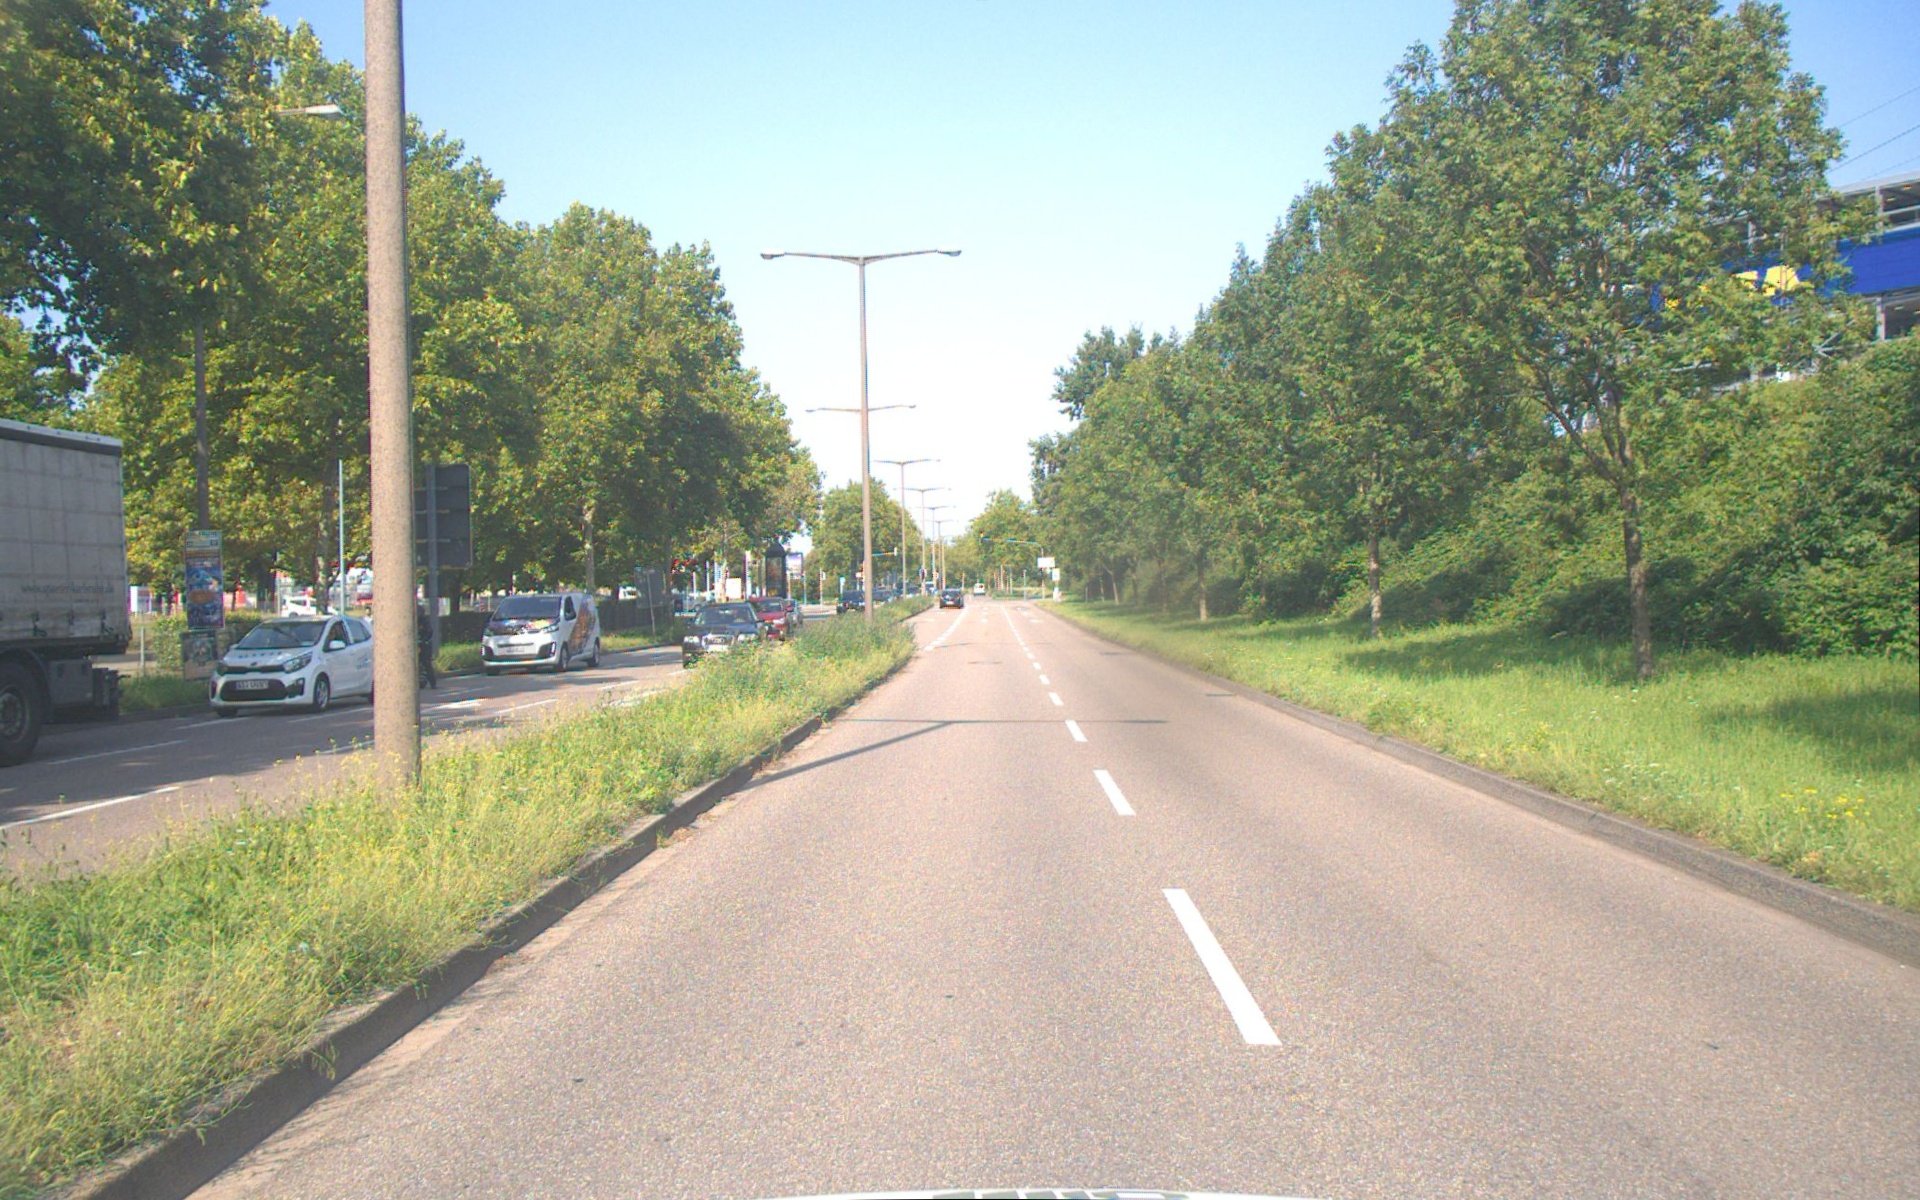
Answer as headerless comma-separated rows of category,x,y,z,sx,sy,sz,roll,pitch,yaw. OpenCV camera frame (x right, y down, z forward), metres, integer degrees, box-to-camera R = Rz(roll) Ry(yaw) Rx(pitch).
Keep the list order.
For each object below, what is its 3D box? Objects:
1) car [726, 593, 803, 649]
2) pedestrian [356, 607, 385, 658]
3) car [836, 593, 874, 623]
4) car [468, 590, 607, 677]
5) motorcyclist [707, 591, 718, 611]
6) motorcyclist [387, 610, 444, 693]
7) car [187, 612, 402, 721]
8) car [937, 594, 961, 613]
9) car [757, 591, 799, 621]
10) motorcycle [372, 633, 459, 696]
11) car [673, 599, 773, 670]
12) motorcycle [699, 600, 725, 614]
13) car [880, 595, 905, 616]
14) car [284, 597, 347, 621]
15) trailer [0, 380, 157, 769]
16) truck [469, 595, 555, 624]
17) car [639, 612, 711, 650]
car,-6.537,0.691,55.681,1.913,1.754,4.587,-1,0,1
pedestrian,-19.861,1.088,55.714,0.604,1.681,0.934,-1,0,1
car,-6.521,0.507,103.223,1.952,1.790,4.478,-1,0,1
car,-10.230,0.768,40.441,1.944,1.891,4.970,-3,0,1
motorcyclist,-20.779,0.083,138.677,0.676,1.599,0.675,0,0,-35
motorcyclist,-10.555,0.989,32.069,0.761,1.581,0.922,-1,0,2
car,-10.431,0.988,26.225,1.710,1.505,3.832,-2,0,2
car,-0.864,0.262,132.319,1.656,1.512,4.002,-1,0,4
car,-9.681,0.290,88.177,1.754,1.508,3.999,-2,0,0
motorcycle,-10.548,1.226,32.136,0.778,1.126,2.468,-1,0,2
car,-5.602,0.776,39.573,1.711,1.505,4.586,-3,0,-1
motorcycle,-20.769,0.559,138.662,2.052,1.156,0.669,-1,-1,-35
car,-5.435,0.449,133.499,1.841,1.622,4.108,0,-1,1
car,-47.426,0.680,121.679,3.960,1.709,1.844,0,0,-39
trailer,-10.931,-0.211,12.551,2.579,3.888,13.813,-3,0,1
truck,-51.549,1.114,190.505,8.912,3.009,3.471,-2,0,-35
car,-10.670,1.133,62.102,1.753,1.285,4.097,-3,0,3
